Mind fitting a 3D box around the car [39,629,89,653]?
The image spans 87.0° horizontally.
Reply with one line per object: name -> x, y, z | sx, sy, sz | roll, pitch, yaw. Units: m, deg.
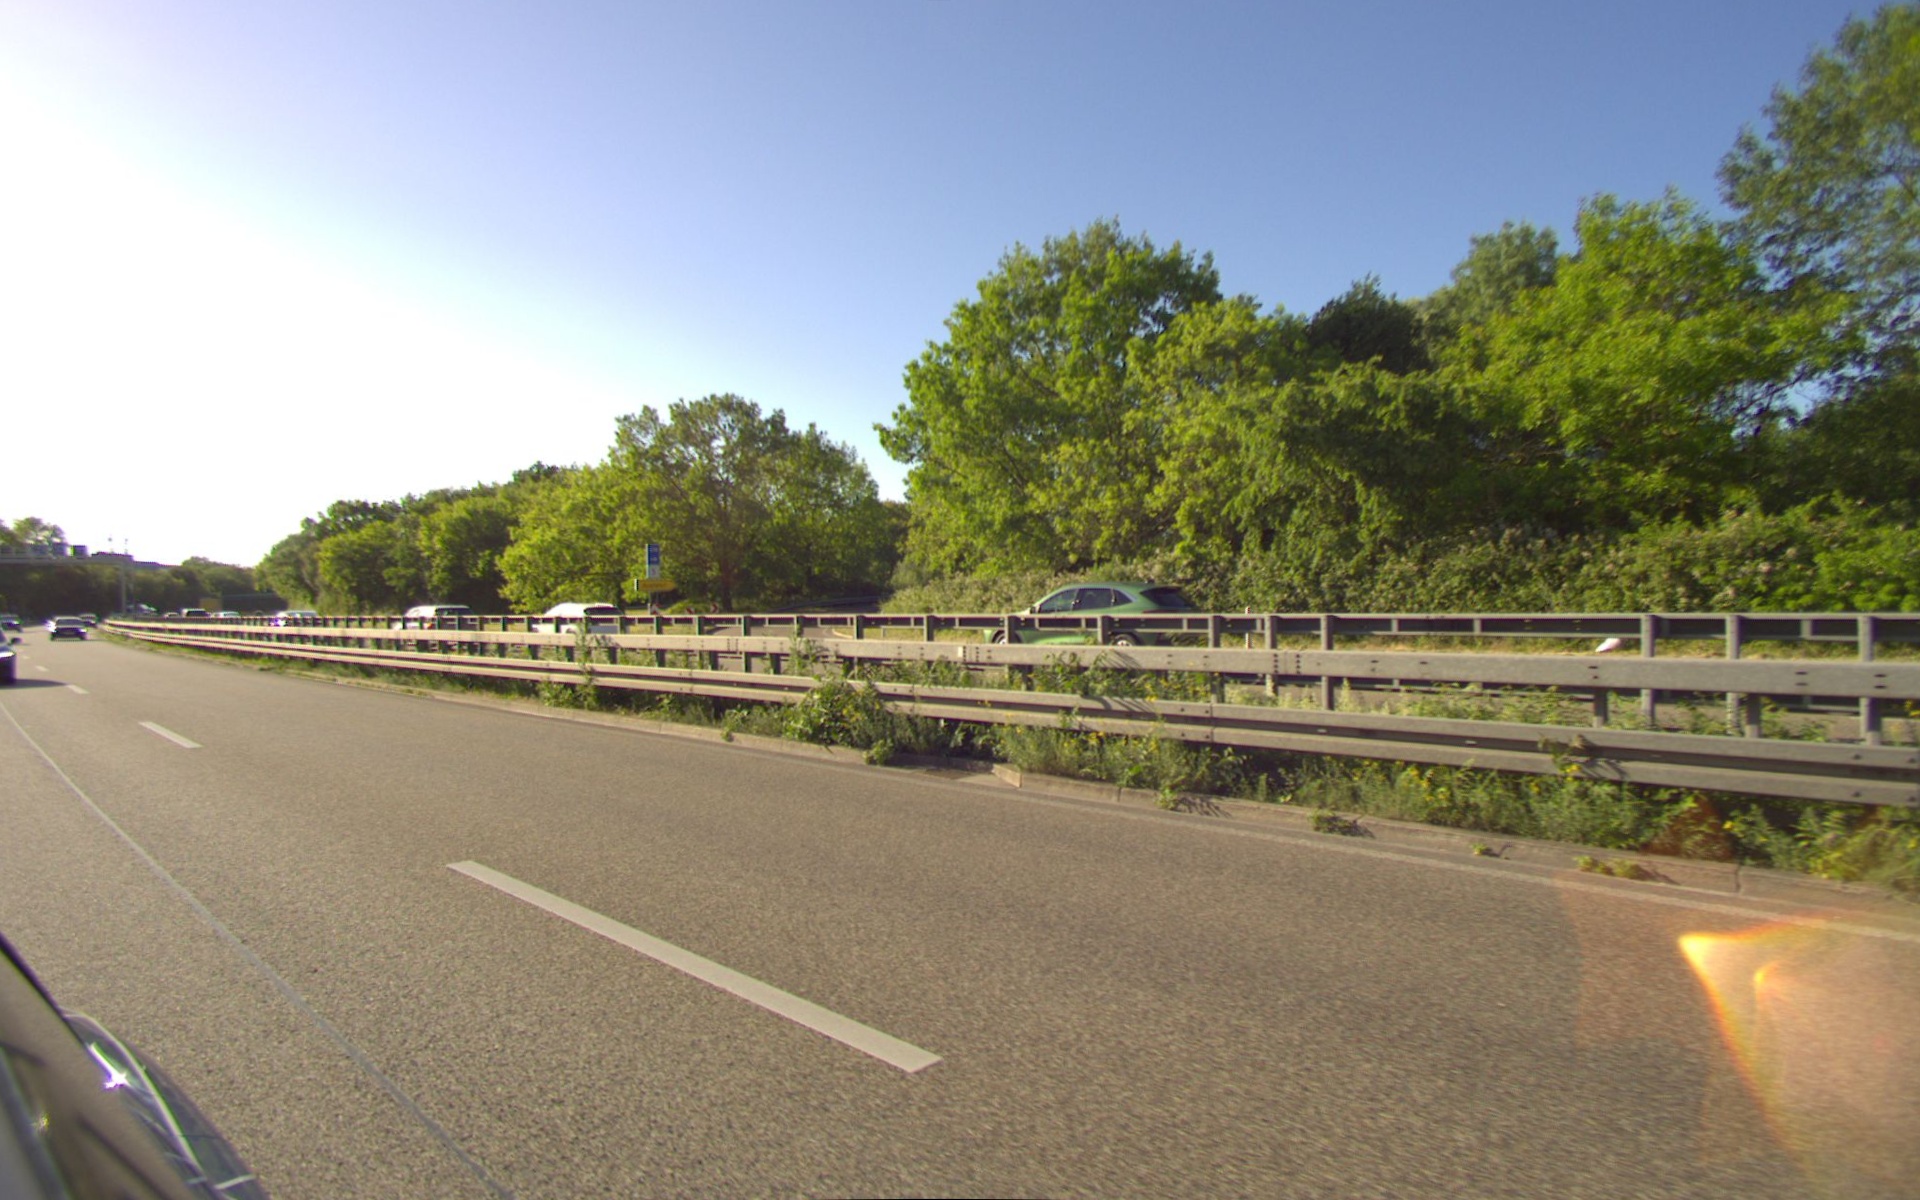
car -> -57.625, 2.600, 65.042 | 4.831, 1.425, 1.972 | -2, 1, 44

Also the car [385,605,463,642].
car -> -26.598, 1.168, 50.135 | 5.030, 1.653, 1.971 | -2, 1, 45

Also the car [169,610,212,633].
car -> -59.350, 1.659, 78.053 | 4.723, 1.653, 1.971 | -2, 1, 45

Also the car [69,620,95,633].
car -> -101.315, 3.066, 116.804 | 1.968, 1.425, 4.840 | -2, 1, -38

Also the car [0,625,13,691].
car -> -23.255, 1.319, 23.383 | 1.970, 1.425, 4.835 | 0, -1, -43

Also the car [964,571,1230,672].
car -> 2.470, 0.387, 19.157 | 4.723, 1.653, 1.971 | -2, 1, 45

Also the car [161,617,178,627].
car -> -120.419, 3.333, 154.126 | 1.968, 1.425, 4.839 | -2, 1, -39

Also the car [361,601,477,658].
car -> -17.413, 0.916, 32.484 | 4.723, 1.653, 1.971 | -2, 1, 45

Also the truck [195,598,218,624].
truck -> -137.330, 2.037, 184.363 | 3.125, 4.452, 8.036 | -4, 2, -37

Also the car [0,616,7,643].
car -> -54.675, 1.689, 56.526 | 1.971, 1.425, 4.833 | -2, 1, -45

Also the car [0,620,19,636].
car -> -90.272, 2.688, 95.493 | 1.969, 1.425, 4.838 | -2, 1, -40

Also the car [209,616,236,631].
car -> -78.699, 2.480, 107.968 | 1.969, 1.425, 4.838 | -2, 1, -41

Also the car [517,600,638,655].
car -> -12.889, 0.899, 33.952 | 4.723, 1.653, 1.971 | -2, 1, 45

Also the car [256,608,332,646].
car -> -30.656, 1.232, 46.503 | 4.723, 1.653, 1.971 | -2, -2, 45

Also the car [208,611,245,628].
car -> -66.959, 1.818, 92.376 | 4.833, 1.425, 1.971 | -1, 1, 45
